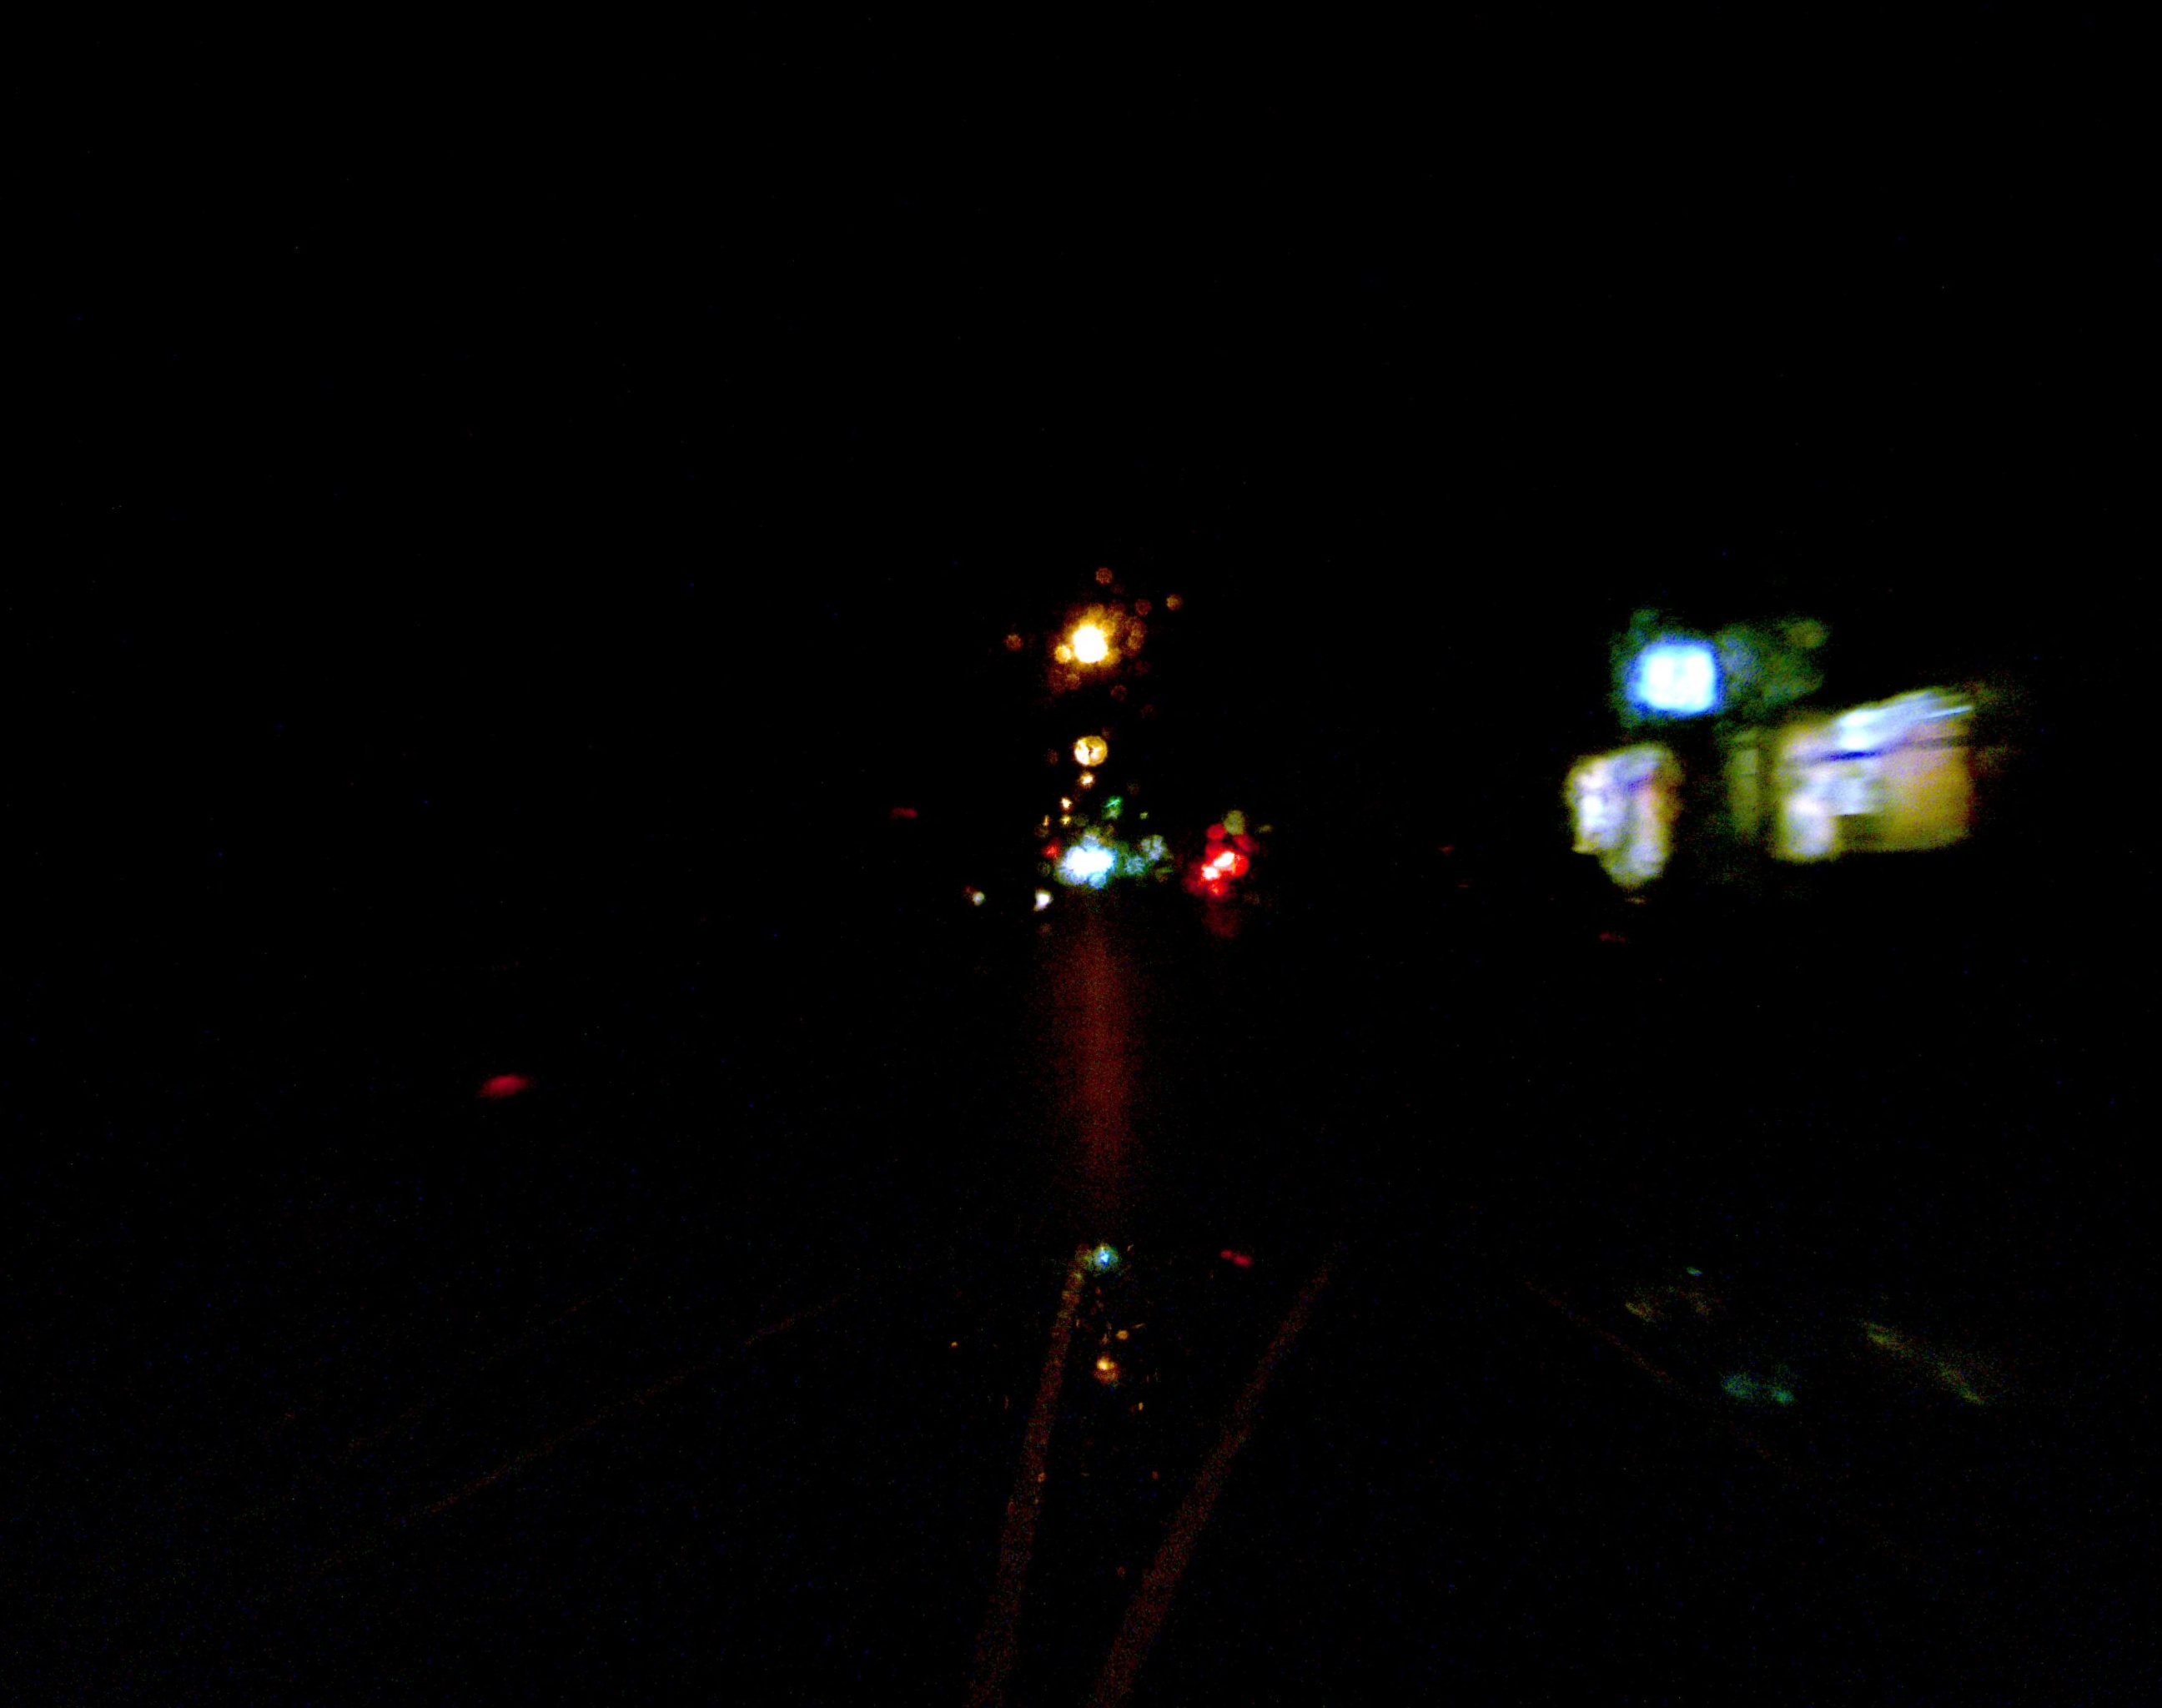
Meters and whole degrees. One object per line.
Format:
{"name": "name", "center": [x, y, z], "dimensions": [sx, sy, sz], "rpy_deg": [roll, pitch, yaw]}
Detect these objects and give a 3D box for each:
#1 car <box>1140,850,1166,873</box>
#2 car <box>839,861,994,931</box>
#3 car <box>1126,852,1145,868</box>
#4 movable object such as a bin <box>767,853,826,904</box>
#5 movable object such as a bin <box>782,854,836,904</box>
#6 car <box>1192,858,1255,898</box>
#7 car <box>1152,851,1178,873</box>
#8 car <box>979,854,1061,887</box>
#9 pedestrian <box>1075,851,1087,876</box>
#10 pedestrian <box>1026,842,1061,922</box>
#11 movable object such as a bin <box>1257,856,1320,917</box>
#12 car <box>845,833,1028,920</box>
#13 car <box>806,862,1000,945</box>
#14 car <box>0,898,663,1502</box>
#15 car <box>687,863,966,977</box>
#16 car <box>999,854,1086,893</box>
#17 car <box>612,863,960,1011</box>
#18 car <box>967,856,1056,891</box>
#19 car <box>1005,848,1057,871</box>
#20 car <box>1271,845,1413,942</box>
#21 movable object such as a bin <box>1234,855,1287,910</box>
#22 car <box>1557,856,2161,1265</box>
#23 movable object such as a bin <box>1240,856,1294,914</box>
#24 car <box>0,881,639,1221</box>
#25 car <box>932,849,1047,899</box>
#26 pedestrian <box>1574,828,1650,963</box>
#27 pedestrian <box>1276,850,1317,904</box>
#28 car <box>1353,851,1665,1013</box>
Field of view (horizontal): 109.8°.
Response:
{"name": "car", "center": [6.116, 0.598, 64.727], "dimensions": [1.871, 1.835, 4.827], "rpy_deg": [0, 0, 2]}
{"name": "car", "center": [-4.027, 0.951, 18.757], "dimensions": [3.407, 1.533, 1.573], "rpy_deg": [0, 1, -35]}
{"name": "car", "center": [5.777, 0.593, 80.319], "dimensions": [1.815, 1.660, 4.413], "rpy_deg": [-1, 0, 6]}
{"name": "movable object such as a bin", "center": [-8.318, 0.704, 22.244], "dimensions": [1.258, 1.364, 0.998], "rpy_deg": [4, 1, 1]}
{"name": "movable object such as a bin", "center": [-8.368, 0.749, 23.410], "dimensions": [1.212, 1.442, 0.998], "rpy_deg": [4, 1, 1]}
{"name": "car", "center": [5.394, 0.859, 29.282], "dimensions": [1.658, 1.351, 4.222], "rpy_deg": [-1, 0, 1]}
{"name": "car", "center": [6.079, 0.562, 55.322], "dimensions": [1.550, 1.434, 3.563], "rpy_deg": [-3, 0, 2]}
{"name": "car", "center": [-3.339, 0.877, 41.706], "dimensions": [4.113, 1.754, 1.855], "rpy_deg": [0, -1, -27]}
{"name": "pedestrian", "center": [-0.007, 0.660, 53.293], "dimensions": [0.824, 1.760, 1.177], "rpy_deg": [0, 0, 0]}
{"name": "pedestrian", "center": [-0.961, 0.700, 19.443], "dimensions": [0.645, 2.001, 0.676], "rpy_deg": [1, 0, -30]}
{"name": "movable object such as a bin", "center": [5.209, 0.799, 19.181], "dimensions": [1.265, 1.451, 1.151], "rpy_deg": [-3, 1, 3]}
{"name": "car", "center": [-4.034, 0.576, 21.629], "dimensions": [4.734, 2.235, 1.941], "rpy_deg": [0, 1, -35]}
{"name": "car", "center": [-3.697, 0.948, 15.883], "dimensions": [3.659, 1.533, 1.556], "rpy_deg": [0, 1, -29]}
{"name": "car", "center": [-3.532, 0.961, 2.460], "dimensions": [3.691, 1.452, 1.600], "rpy_deg": [0, 1, -34]}
{"name": "car", "center": [-4.185, 0.949, 12.709], "dimensions": [4.008, 1.543, 1.994], "rpy_deg": [0, 1, -37]}
{"name": "car", "center": [-1.847, 0.916, 36.780], "dimensions": [3.809, 1.718, 1.737], "rpy_deg": [-2, 1, -30]}
{"name": "car", "center": [-3.833, 0.927, 10.103], "dimensions": [4.007, 1.543, 1.800], "rpy_deg": [0, 1, -34]}
{"name": "car", "center": [-3.520, 0.963, 38.587], "dimensions": [4.068, 1.601, 1.840], "rpy_deg": [-2, 0, -29]}
{"name": "car", "center": [-5.250, 0.583, 79.519], "dimensions": [4.951, 2.327, 2.226], "rpy_deg": [0, 0, -33]}
{"name": "car", "center": [5.123, 0.694, 15.410], "dimensions": [1.607, 1.696, 3.721], "rpy_deg": [-1, 0, 1]}
{"name": "movable object such as a bin", "center": [5.072, 0.786, 21.556], "dimensions": [1.211, 1.451, 1.107], "rpy_deg": [-3, 1, 3]}
{"name": "car", "center": [4.818, 0.767, 4.181], "dimensions": [1.690, 1.447, 4.315], "rpy_deg": [-2, 0, 1]}
{"name": "movable object such as a bin", "center": [4.962, 0.806, 20.383], "dimensions": [1.167, 1.451, 1.107], "rpy_deg": [-3, 1, 3]}
{"name": "car", "center": [-4.870, 0.908, 4.305], "dimensions": [4.007, 1.443, 1.684], "rpy_deg": [1, 0, -33]}
{"name": "car", "center": [-3.657, 0.777, 30.594], "dimensions": [4.256, 1.848, 1.712], "rpy_deg": [1, 1, -35]}
{"name": "pedestrian", "center": [7.180, 0.547, 10.298], "dimensions": [0.641, 1.771, 0.549], "rpy_deg": [-1, 1, 1]}
{"name": "pedestrian", "center": [7.251, 0.766, 25.552], "dimensions": [1.135, 1.772, 0.788], "rpy_deg": [-1, 0, 1]}
{"name": "car", "center": [4.937, 0.774, 9.494], "dimensions": [1.607, 1.543, 4.025], "rpy_deg": [-2, 0, 1]}
